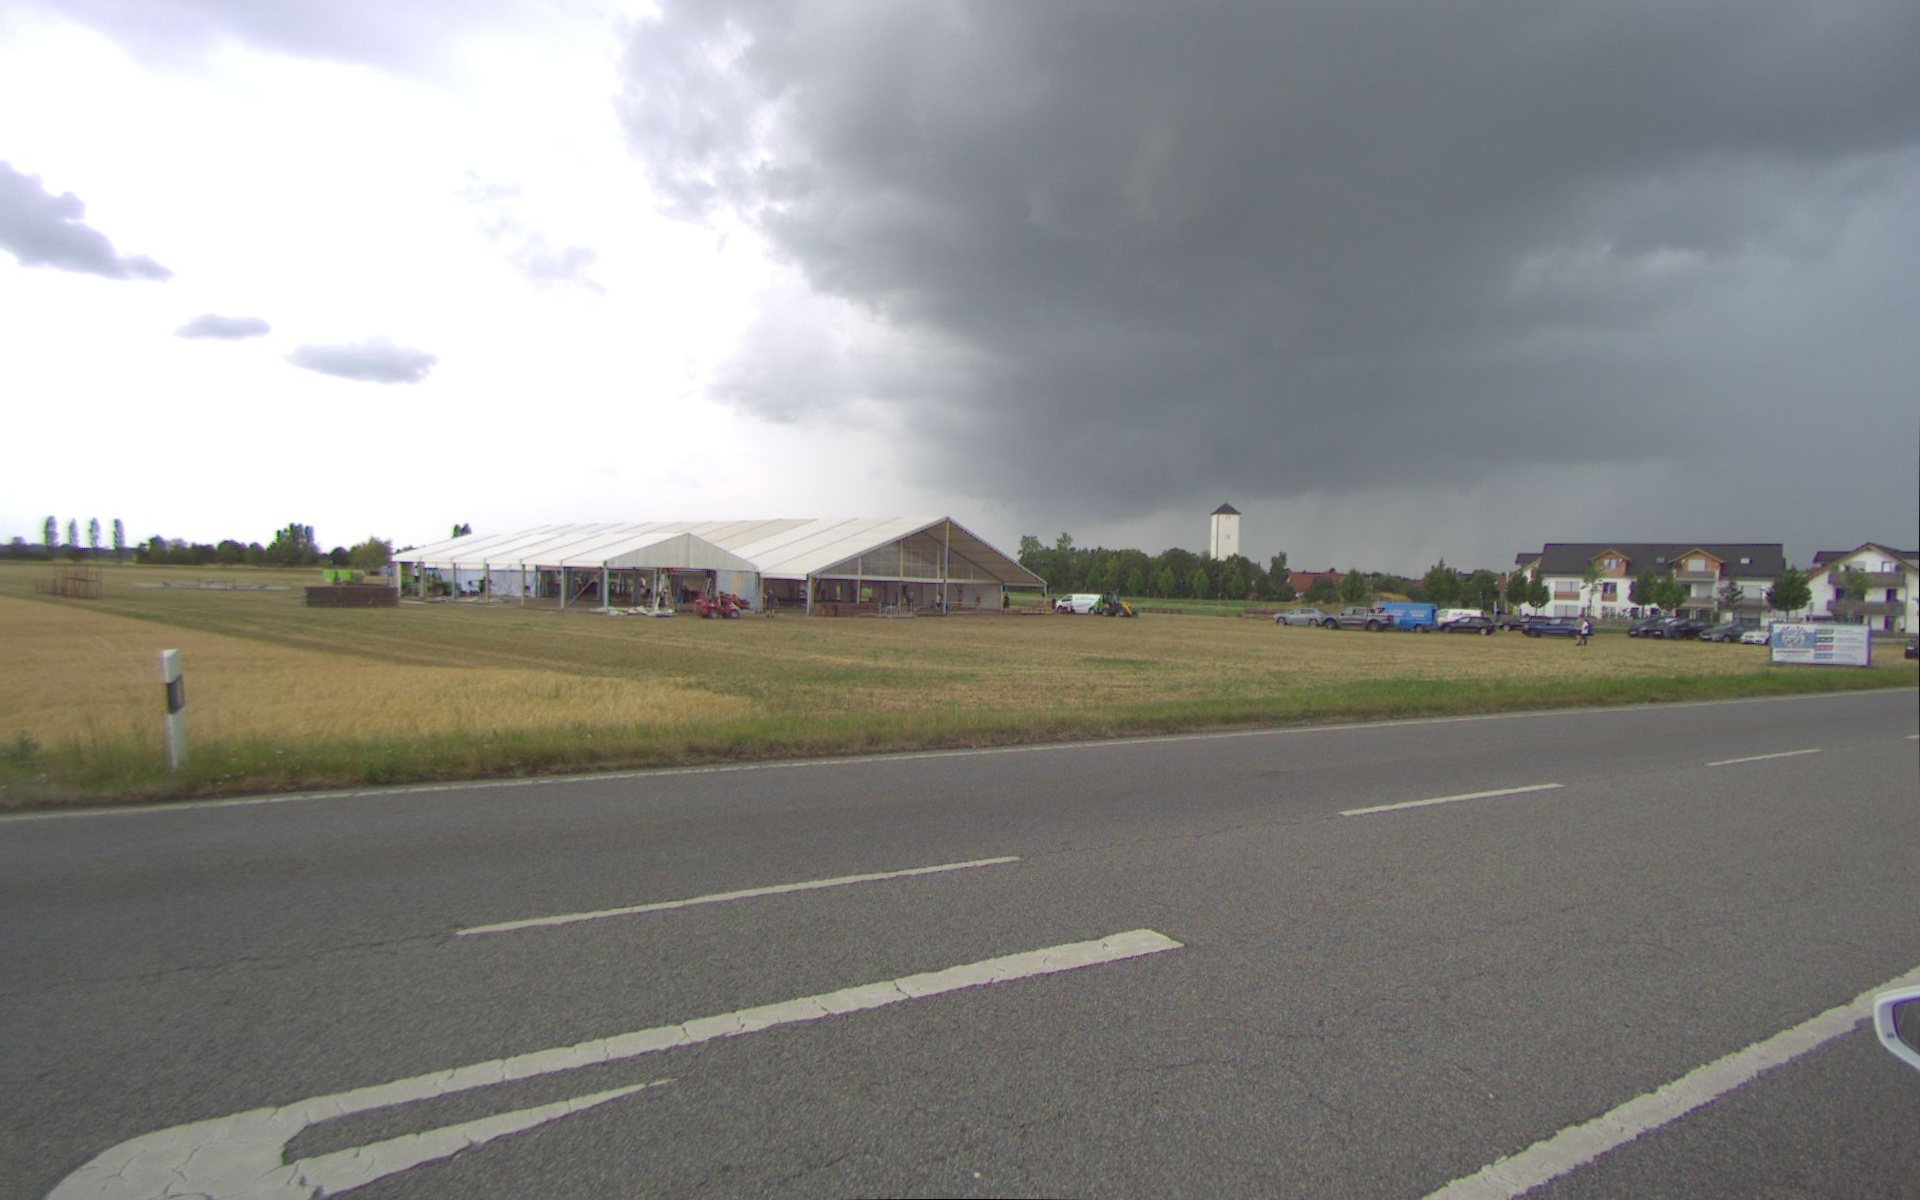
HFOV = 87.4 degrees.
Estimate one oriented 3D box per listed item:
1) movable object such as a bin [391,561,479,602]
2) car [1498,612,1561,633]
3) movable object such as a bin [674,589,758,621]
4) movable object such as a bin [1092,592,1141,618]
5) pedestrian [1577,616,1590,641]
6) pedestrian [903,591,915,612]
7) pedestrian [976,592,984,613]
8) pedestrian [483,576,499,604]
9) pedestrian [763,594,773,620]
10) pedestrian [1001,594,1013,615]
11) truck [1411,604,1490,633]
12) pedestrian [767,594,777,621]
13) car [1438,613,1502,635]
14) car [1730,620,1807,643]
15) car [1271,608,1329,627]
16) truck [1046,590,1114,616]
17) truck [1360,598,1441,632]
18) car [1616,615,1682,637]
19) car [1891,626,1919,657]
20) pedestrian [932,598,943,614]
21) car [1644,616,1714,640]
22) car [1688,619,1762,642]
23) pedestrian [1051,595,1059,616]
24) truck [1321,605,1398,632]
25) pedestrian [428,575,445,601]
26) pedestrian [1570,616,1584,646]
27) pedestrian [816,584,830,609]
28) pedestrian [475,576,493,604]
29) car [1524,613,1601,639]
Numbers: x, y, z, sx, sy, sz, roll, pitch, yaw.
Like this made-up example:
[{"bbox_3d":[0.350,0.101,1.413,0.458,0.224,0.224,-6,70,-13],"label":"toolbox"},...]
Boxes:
[{"bbox_3d":[-45.174,-1.588,86.368,7.465,3.220,4.140,3,1,39],"label":"movable object such as a bin"},{"bbox_3d":[50.138,1.972,88.490,4.570,1.720,1.991,2,0,40],"label":"car"},{"bbox_3d":[-15.154,0.323,62.461,2.555,1.889,4.458,2,0,36],"label":"movable object such as a bin"},{"bbox_3d":[14.158,0.446,90.797,3.928,2.273,1.881,2,0,32],"label":"movable object such as a bin"},{"bbox_3d":[38.926,1.773,62.686,0.582,1.576,0.623,2,1,41],"label":"pedestrian"},{"bbox_3d":[-4.329,0.122,85.082,0.689,1.799,0.682,1,1,-41],"label":"pedestrian"},{"bbox_3d":[1.749,0.196,87.786,0.681,1.799,0.691,2,0,5],"label":"pedestrian"},{"bbox_3d":[-35.874,-0.778,76.823,0.930,2.130,0.860,1,0,-32],"label":"pedestrian"},{"bbox_3d":[-12.464,0.438,65.170,0.573,1.649,0.470,2,0,-8],"label":"pedestrian"},{"bbox_3d":[4.035,0.401,86.662,0.684,1.799,0.687,1,1,-39],"label":"pedestrian"},{"bbox_3d":[40.677,1.509,83.373,5.493,2.226,2.597,2,0,37],"label":"truck"},{"bbox_3d":[-11.938,0.468,63.753,0.543,1.649,0.545,1,0,-16],"label":"pedestrian"},{"bbox_3d":[40.015,1.847,78.876,4.105,1.539,1.991,2,0,40],"label":"car"},{"bbox_3d":[55.858,2.195,69.443,4.138,1.465,1.995,1,0,-12],"label":"car"},{"bbox_3d":[28.404,1.464,83.997,4.235,1.481,1.886,2,0,34],"label":"car"},{"bbox_3d":[11.540,0.295,96.835,5.960,2.246,2.714,2,0,33],"label":"truck"},{"bbox_3d":[34.598,1.145,78.881,5.378,2.478,2.385,2,0,37],"label":"truck"},{"bbox_3d":[54.102,2.044,78.908,4.138,1.651,1.995,1,0,-12],"label":"car"},{"bbox_3d":[50.641,2.188,52.903,3.970,1.461,1.975,0,1,-42],"label":"car"},{"bbox_3d":[-1.880,0.476,84.007,0.689,1.288,0.682,1,1,-41],"label":"pedestrian"},{"bbox_3d":[53.665,2.066,75.010,4.138,1.651,1.995,1,0,-12],"label":"car"},{"bbox_3d":[54.840,2.184,72.044,4.138,1.556,1.995,1,0,-12],"label":"car"},{"bbox_3d":[8.526,0.489,90.183,0.694,1.890,0.626,2,0,8],"label":"pedestrian"},{"bbox_3d":[30.755,1.402,77.385,5.154,1.946,2.106,2,0,34],"label":"truck"},{"bbox_3d":[-41.404,-0.969,79.389,1.009,2.040,0.803,2,1,38],"label":"pedestrian"},{"bbox_3d":[38.095,1.928,62.012,0.673,1.809,0.543,1,1,-42],"label":"pedestrian"},{"bbox_3d":[-11.400,-0.297,83.690,0.869,2.040,0.760,1,1,-35],"label":"pedestrian"},{"bbox_3d":[-35.757,-0.729,75.440,1.006,2.040,0.806,2,0,-5],"label":"pedestrian"},{"bbox_3d":[44.954,1.946,74.963,4.659,1.720,1.991,2,0,40],"label":"car"}]
